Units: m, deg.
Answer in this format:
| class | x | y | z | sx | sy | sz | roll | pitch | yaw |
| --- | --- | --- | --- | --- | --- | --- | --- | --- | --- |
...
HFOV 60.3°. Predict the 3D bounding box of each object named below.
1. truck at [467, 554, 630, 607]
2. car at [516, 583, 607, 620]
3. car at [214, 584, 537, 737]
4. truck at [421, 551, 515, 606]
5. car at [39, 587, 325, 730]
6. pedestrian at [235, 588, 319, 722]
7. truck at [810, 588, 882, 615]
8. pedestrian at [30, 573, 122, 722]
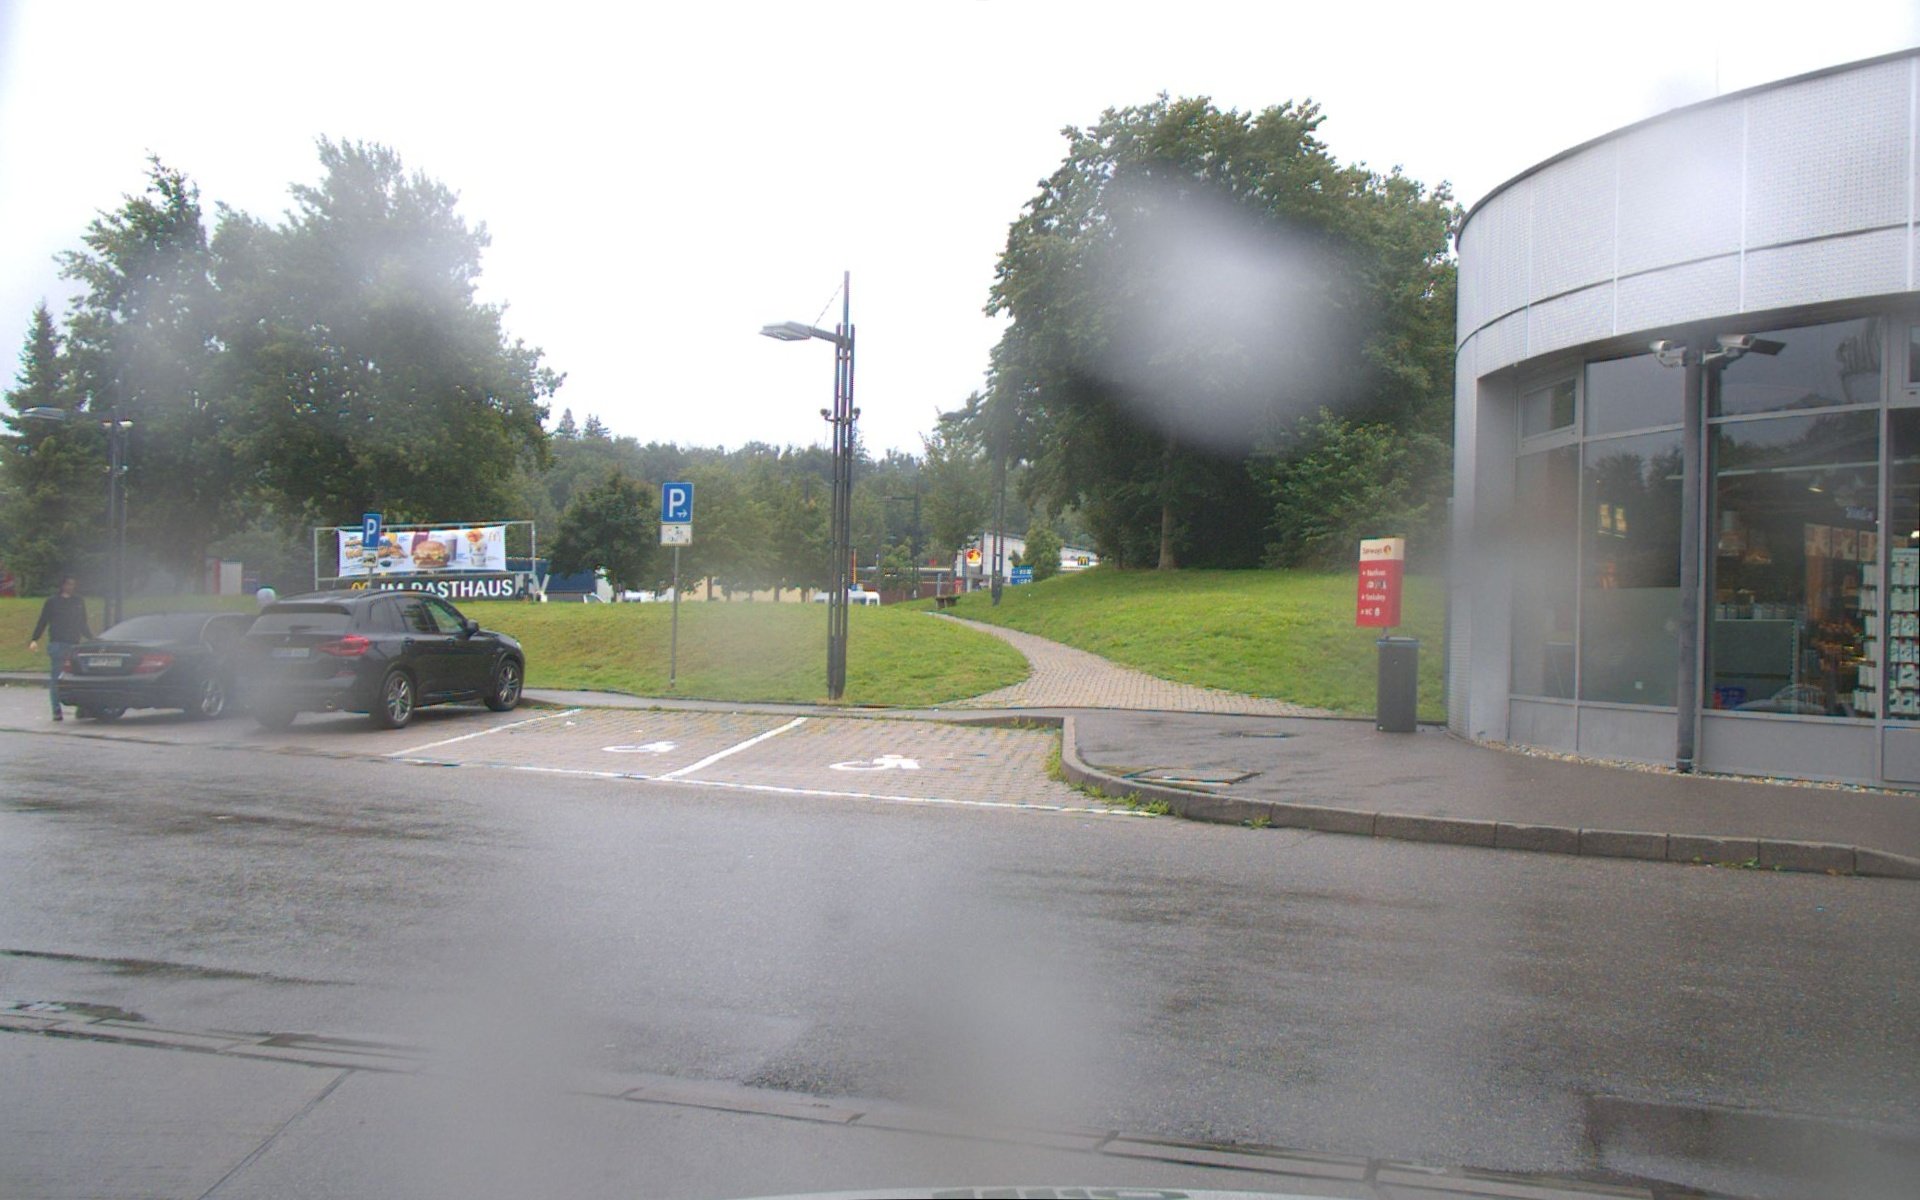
| class | x | y | z | sx | sy | sz | roll | pitch | yaw |
| --- | --- | --- | --- | --- | --- | --- | --- | --- | --- |
| truck | -24.929 | -1.092 | 101.270 | 2.142 | 2.971 | 13.092 | 1 | 0 | 23 |
| car | -19.978 | 0.087 | 82.988 | 4.092 | 1.814 | 1.820 | 1 | 0 | -37 |
| car | -7.367 | 0.691 | 21.372 | 1.973 | 1.741 | 4.347 | -1 | 1 | 11 |
| truck | -27.980 | -1.176 | 94.255 | 2.142 | 2.971 | 5.384 | 1 | 0 | 24 |
| car | -10.574 | 0.717 | 22.890 | 1.976 | 1.741 | 4.342 | -1 | 1 | -2 |
| pedestrian | -8.742 | 0.693 | 21.158 | 0.939 | 1.660 | 0.698 | 1 | -1 | -25 |
| truck | -9.232 | 0.135 | 133.668 | 5.298 | 2.049 | 2.366 | 1 | 0 | 24 |
| pedestrian | -11.686 | 0.618 | 21.860 | 0.875 | 1.920 | 0.702 | 1 | -1 | 32 |
